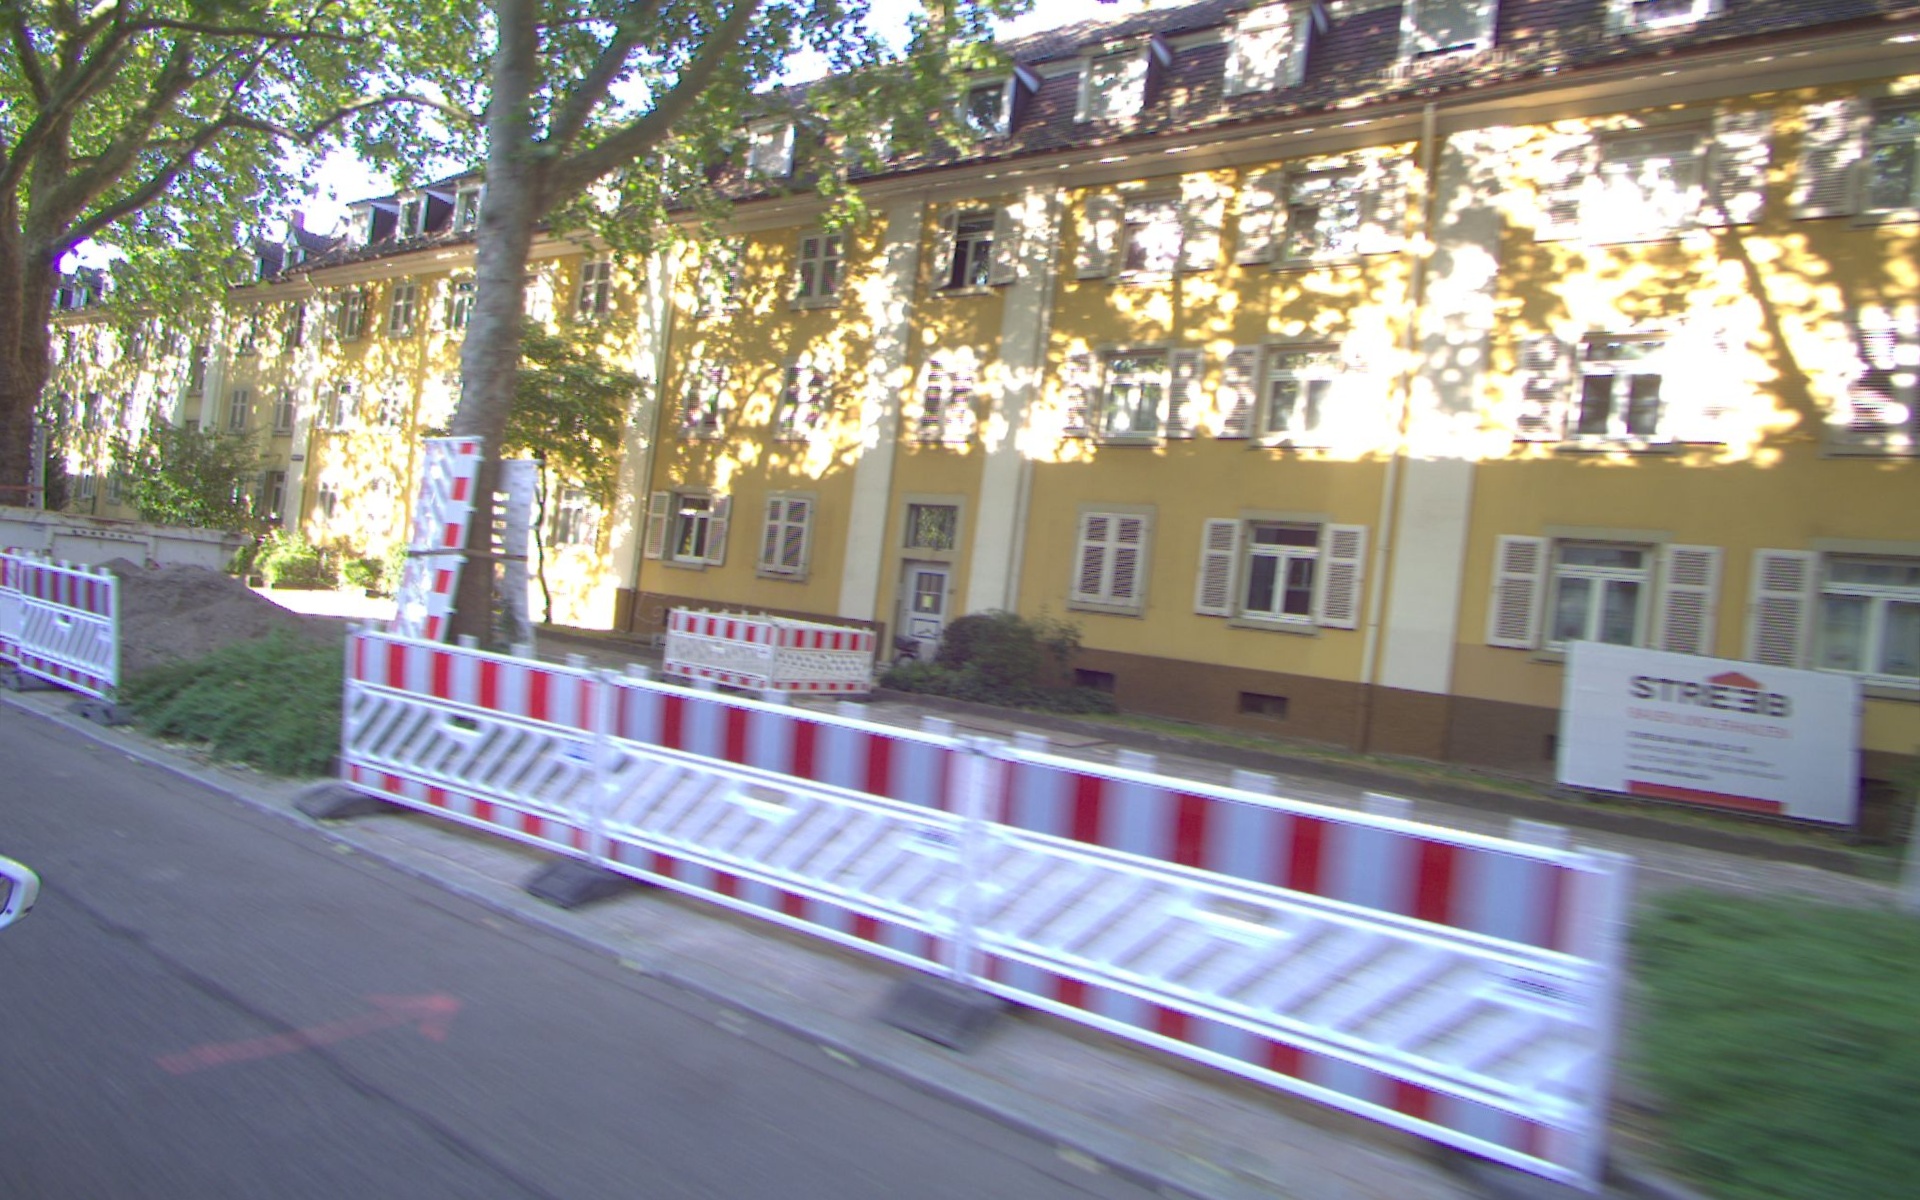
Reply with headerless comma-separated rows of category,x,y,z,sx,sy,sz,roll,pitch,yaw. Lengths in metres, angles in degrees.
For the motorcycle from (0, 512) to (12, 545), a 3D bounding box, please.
motorcycle,-36.021,-2.724,37.245,2.226,1.167,0.716,6,0,32
